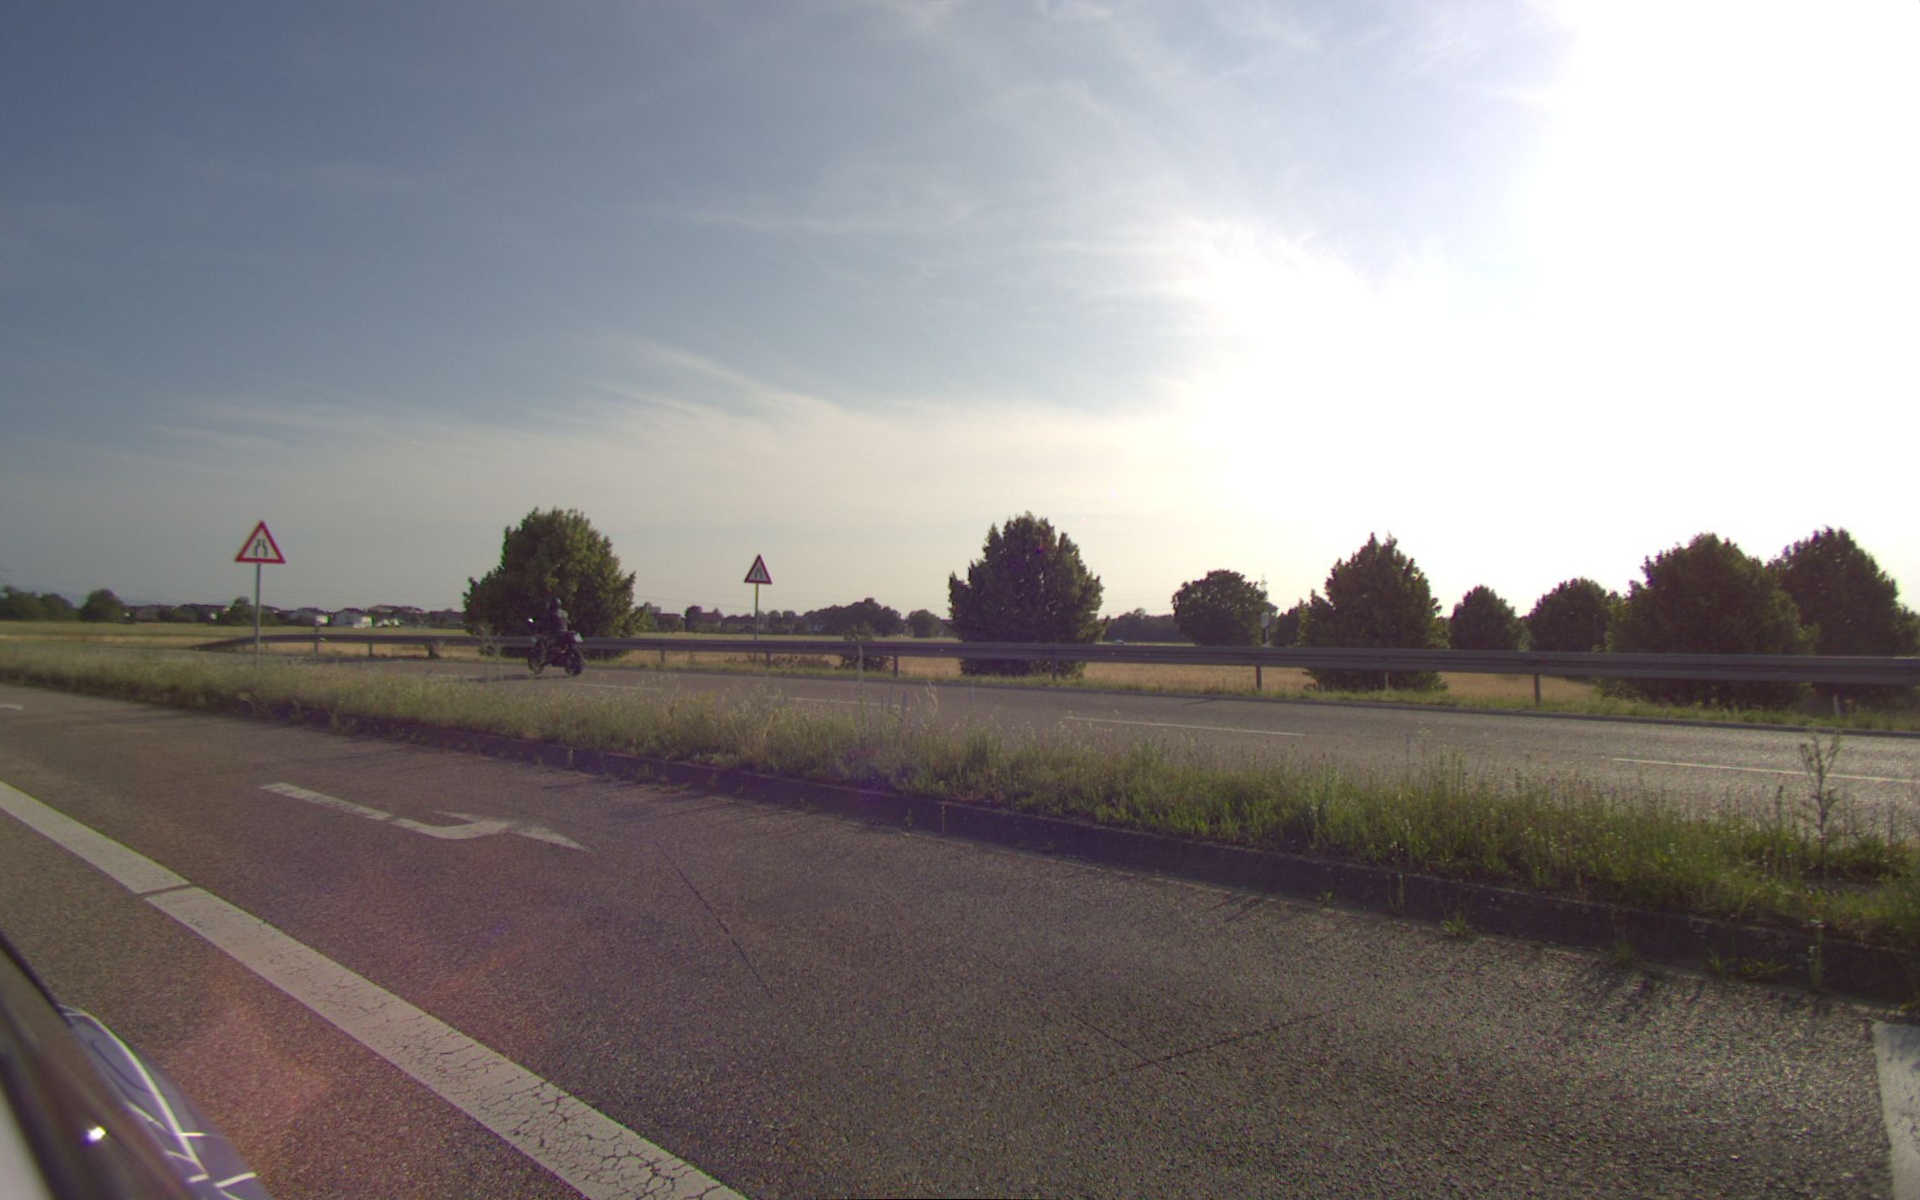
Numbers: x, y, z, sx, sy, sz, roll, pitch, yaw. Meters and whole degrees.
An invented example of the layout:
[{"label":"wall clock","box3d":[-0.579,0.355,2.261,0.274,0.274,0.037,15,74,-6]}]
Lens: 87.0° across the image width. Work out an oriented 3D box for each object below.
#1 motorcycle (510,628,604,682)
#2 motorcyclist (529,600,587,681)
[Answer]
[{"label":"motorcycle","box3d":[-9.090,1.221,22.811,2.166,1.133,0.929,-1,-1,35]},{"label":"motorcyclist","box3d":[-9.035,0.899,22.761,0.830,1.771,0.896,-1,-1,35]}]
